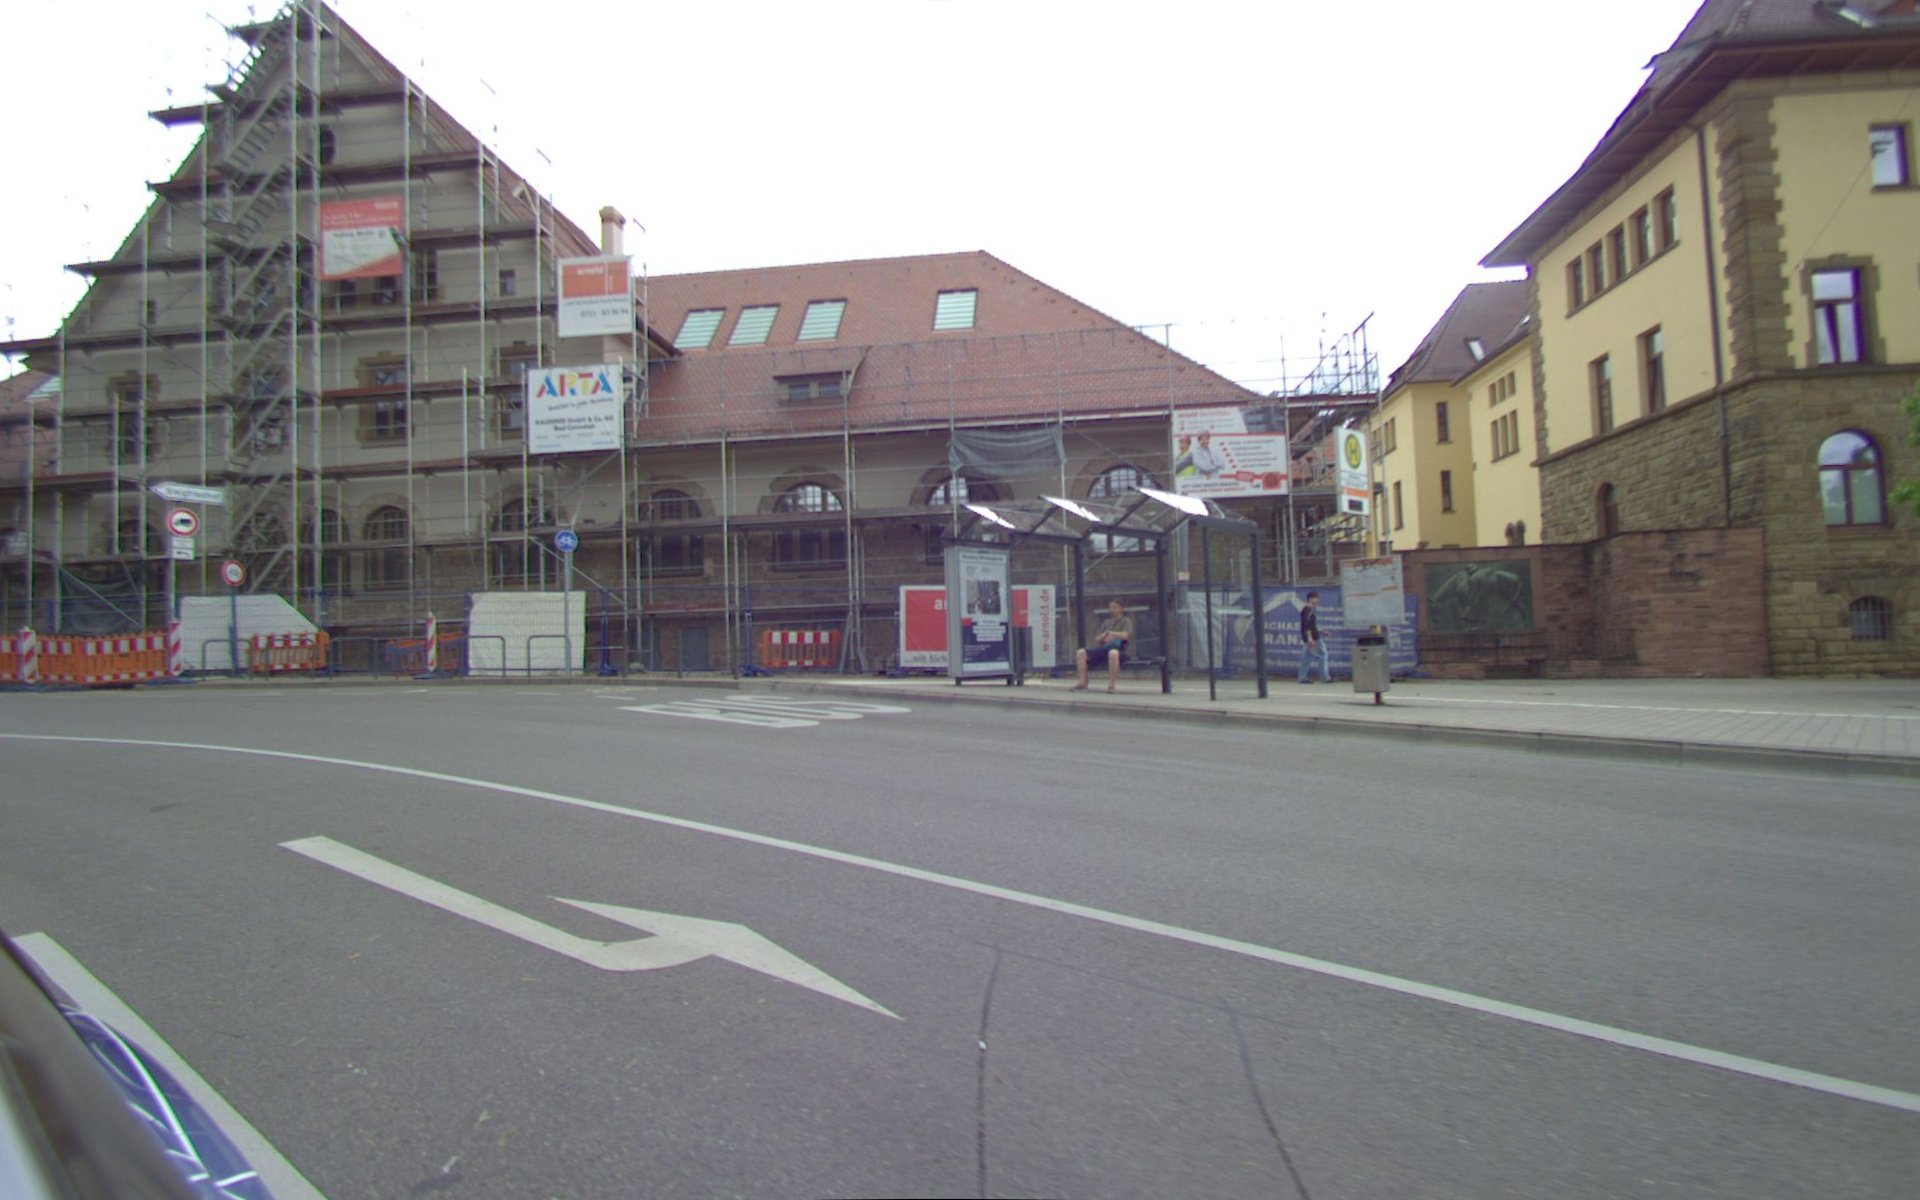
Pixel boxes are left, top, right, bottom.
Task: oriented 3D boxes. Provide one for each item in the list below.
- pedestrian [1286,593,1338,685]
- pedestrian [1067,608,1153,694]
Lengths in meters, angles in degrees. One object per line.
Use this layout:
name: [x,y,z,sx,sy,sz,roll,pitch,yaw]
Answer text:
pedestrian: [6.812,0.743,19.618,0.789,1.733,0.923,0,-1,9]
pedestrian: [2.184,0.738,14.690,0.903,1.201,0.924,-1,-4,35]
